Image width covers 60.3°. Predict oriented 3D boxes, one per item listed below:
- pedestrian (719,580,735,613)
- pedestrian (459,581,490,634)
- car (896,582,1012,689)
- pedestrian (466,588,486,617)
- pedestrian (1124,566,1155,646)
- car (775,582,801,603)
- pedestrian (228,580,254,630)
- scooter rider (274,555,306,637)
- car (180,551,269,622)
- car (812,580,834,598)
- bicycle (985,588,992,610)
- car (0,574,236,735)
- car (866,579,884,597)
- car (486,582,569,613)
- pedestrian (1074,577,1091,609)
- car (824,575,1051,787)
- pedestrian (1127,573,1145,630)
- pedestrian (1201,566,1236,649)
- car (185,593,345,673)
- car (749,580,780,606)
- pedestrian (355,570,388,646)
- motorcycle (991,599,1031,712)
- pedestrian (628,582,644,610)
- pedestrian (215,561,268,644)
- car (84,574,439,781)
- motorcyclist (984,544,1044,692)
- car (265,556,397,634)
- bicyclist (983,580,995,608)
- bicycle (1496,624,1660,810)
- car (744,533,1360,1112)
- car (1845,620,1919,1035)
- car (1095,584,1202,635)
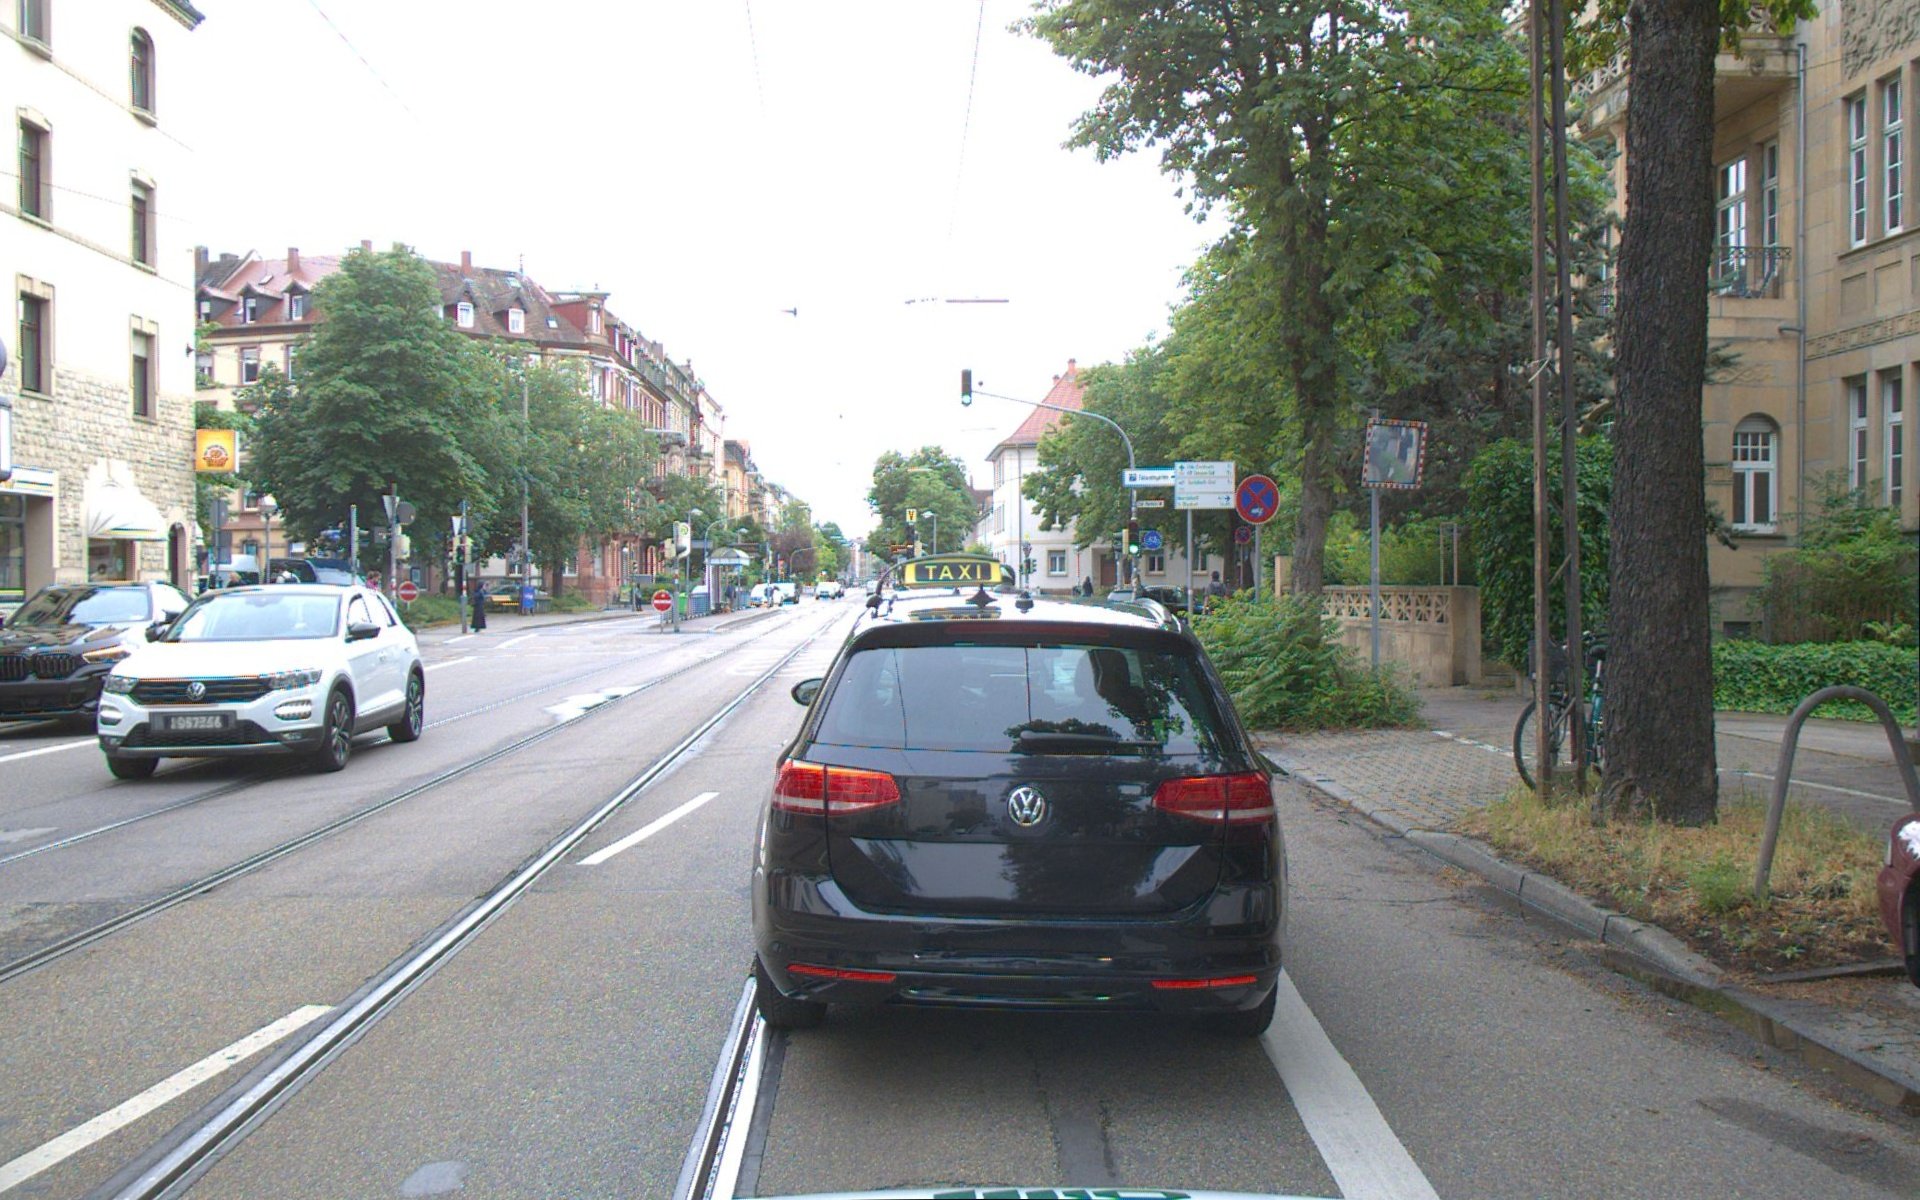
[{"bbox_3d":[-10.960,-0.187,77.773,0.699,1.547,0.589,0,0,-1],"label":"pedestrian"},{"bbox_3d":[-15.802,0.236,53.846,0.819,1.692,0.591,0,0,-1],"label":"pedestrian"},{"bbox_3d":[-0.160,0.510,26.455,1.689,1.573,3.998,0,1,-3],"label":"car"},{"bbox_3d":[-20.500,0.095,70.046,0.582,1.189,0.836,0,0,-31],"label":"pedestrian"},{"bbox_3d":[4.309,0.138,39.712,0.573,1.862,0.604,-3,0,-2],"label":"pedestrian"},{"bbox_3d":[-12.673,-0.589,121.942,1.687,1.490,3.861,-1,1,-3],"label":"car"},{"bbox_3d":[-25.201,0.166,57.981,0.694,1.745,0.543,0,0,-43],"label":"pedestrian"},{"bbox_3d":[-17.030,-0.104,42.020,0.635,2.049,0.750,-1,0,-31],"label":"scooter rider"},{"bbox_3d":[-27.740,-0.501,62.267,2.160,2.571,5.316,0,0,-34],"label":"car"},{"bbox_3d":[-13.041,-1.074,157.542,1.758,1.624,4.000,-1,1,0],"label":"car"},{"bbox_3d":[1.658,-0.080,96.687,0.291,1.244,1.431,0,0,5],"label":"bicycle"},{"bbox_3d":[-10.290,0.577,19.814,1.849,1.639,4.874,-3,1,-11],"label":"car"},{"bbox_3d":[-9.902,-1.347,192.430,1.992,2.049,3.998,1,0,-3],"label":"car"},{"bbox_3d":[-23.686,-0.161,90.611,3.967,1.624,1.969,-1,1,-43],"label":"car"},{"bbox_3d":[6.073,-0.348,81.891,0.604,1.581,0.574,0,0,-42],"label":"pedestrian"},{"bbox_3d":[-0.252,0.586,14.343,1.689,1.573,3.998,0,1,-3],"label":"car"},{"bbox_3d":[5.872,0.055,55.197,0.503,1.862,0.418,-3,0,7],"label":"pedestrian"},{"bbox_3d":[5.814,0.170,37.187,0.619,1.846,0.725,0,0,-5],"label":"pedestrian"},{"bbox_3d":[-13.405,0.593,32.143,1.616,1.385,4.125,2,0,-5],"label":"car"},{"bbox_3d":[-12.787,-0.501,108.296,1.687,1.651,3.861,-1,1,-3],"label":"car"},{"bbox_3d":[-14.481,0.191,40.729,0.611,1.874,0.609,0,0,-5],"label":"pedestrian"},{"bbox_3d":[0.595,0.627,19.688,0.437,1.257,1.907,0,1,1],"label":"motorcycle"},{"bbox_3d":[-17.887,-0.205,91.404,0.577,1.547,0.647,0,0,33],"label":"pedestrian"},{"bbox_3d":[-18.107,0.062,41.694,0.954,2.049,0.835,-1,0,-3],"label":"pedestrian"},{"bbox_3d":[-5.898,0.560,14.482,1.665,1.522,3.927,-1,1,-5],"label":"car"},{"bbox_3d":[0.639,0.202,19.703,0.688,1.722,0.804,0,0,0],"label":"motorcyclist"},{"bbox_3d":[-20.851,-0.179,54.691,2.170,2.459,5.292,-1,1,-45],"label":"car"},{"bbox_3d":[1.700,-0.352,96.696,0.637,1.595,0.696,0,0,4],"label":"bicyclist"},{"bbox_3d":[4.415,0.786,11.745,0.425,1.219,1.892,0,-1,42],"label":"bicycle"},{"bbox_3d":[0.175,0.587,6.533,1.689,1.573,3.998,0,1,-3],"label":"car"},{"bbox_3d":[4.164,0.787,4.038,1.570,1.423,4.225,-2,1,-2],"label":"car"},{"bbox_3d":[5.737,0.263,49.914,1.856,1.432,3.994,0,1,29],"label":"car"}]
